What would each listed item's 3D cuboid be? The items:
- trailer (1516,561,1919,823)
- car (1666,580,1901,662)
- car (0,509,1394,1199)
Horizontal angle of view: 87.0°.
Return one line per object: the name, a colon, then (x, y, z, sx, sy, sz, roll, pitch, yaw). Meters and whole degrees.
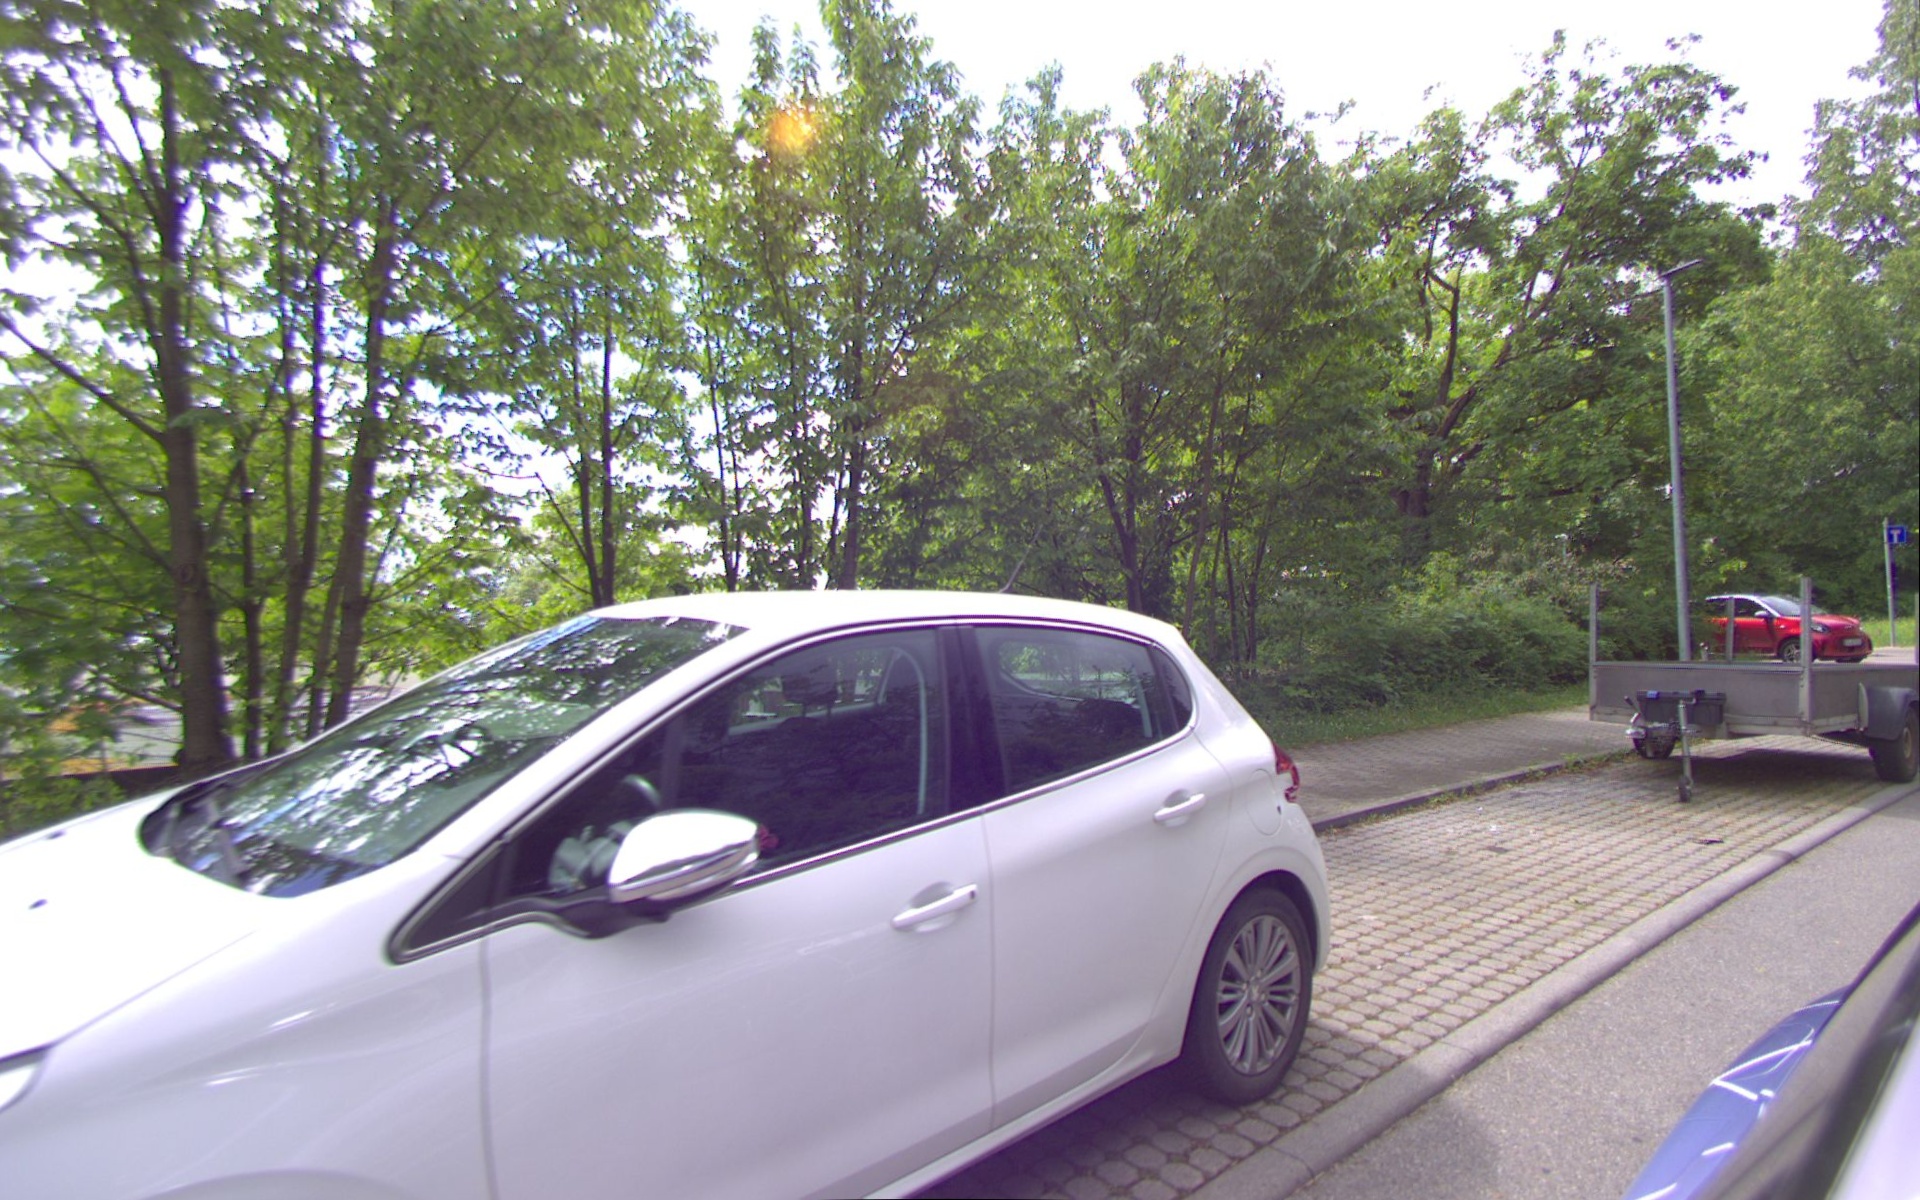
trailer: (6.516, 0.539, 8.223, 4.406, 1.599, 1.815, -1, 0, -36)
car: (17.233, 0.424, 21.389, 1.617, 1.537, 3.494, -2, 0, -16)
car: (-0.594, 0.636, 2.639, 3.716, 1.496, 1.709, 0, 0, -40)
